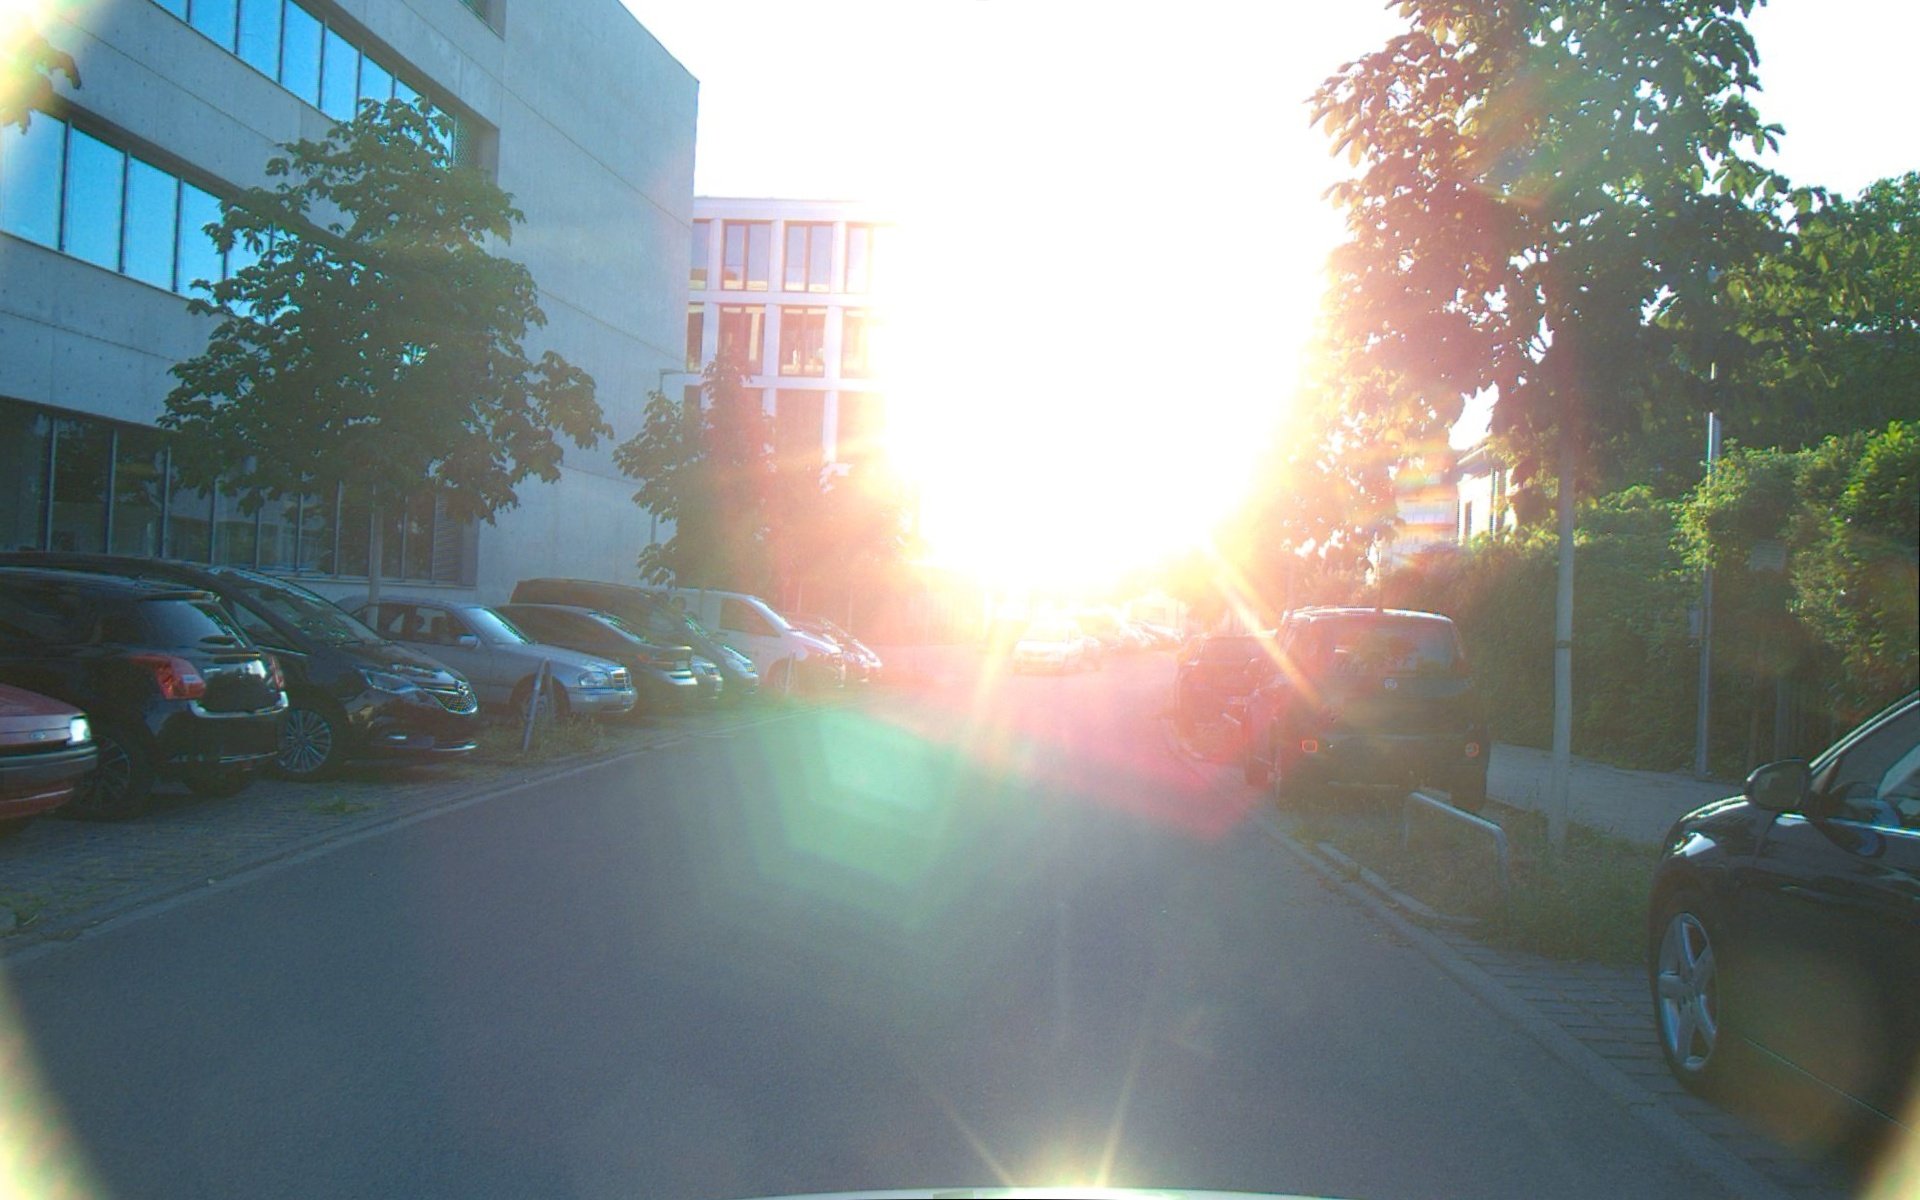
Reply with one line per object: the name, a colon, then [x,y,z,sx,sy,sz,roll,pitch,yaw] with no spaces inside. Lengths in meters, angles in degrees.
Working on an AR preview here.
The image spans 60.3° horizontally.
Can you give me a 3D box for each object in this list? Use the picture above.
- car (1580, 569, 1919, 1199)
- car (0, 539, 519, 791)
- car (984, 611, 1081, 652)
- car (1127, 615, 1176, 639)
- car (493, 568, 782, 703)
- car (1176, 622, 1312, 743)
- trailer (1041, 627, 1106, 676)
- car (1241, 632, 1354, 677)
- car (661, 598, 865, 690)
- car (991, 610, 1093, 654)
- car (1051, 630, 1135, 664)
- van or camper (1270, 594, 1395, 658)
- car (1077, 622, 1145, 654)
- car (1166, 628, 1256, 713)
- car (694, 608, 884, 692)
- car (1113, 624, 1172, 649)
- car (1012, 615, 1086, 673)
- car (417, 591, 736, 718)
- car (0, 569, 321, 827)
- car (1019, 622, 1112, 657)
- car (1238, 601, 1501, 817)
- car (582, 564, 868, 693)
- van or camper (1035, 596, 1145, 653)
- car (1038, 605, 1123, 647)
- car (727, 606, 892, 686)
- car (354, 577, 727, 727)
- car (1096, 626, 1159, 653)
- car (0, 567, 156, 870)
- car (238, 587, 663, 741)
car: [3.072,0.744,3.734,1.675,1.577,4.549,2,0,1]
car: [-6.025,0.483,13.530,4.220,1.726,1.896,3,-1,1]
car: [3.226,1.407,73.136,3.964,1.504,1.769,4,0,14]
car: [12.204,1.688,105.294,2.951,1.446,1.459,1,0,14]
car: [-5.171,0.572,26.852,4.158,1.772,1.725,5,-1,5]
car: [4.010,1.114,23.851,1.657,1.536,4.195,1,-1,6]
trailer: [3.977,1.748,57.322,1.670,1.372,3.490,5,2,12]
car: [12.385,1.985,60.925,3.963,1.505,1.769,1,0,8]
car: [-4.096,0.916,34.783,3.904,1.548,1.606,5,-1,5]
car: [3.458,1.330,69.224,3.964,1.504,1.769,4,1,11]
car: [6.629,2.321,82.259,3.963,1.551,1.737,1,0,10]
van or camper: [17.162,1.192,76.538,5.490,2.839,2.431,1,0,9]
car: [8.197,2.052,89.679,3.484,1.681,1.459,1,0,14]
car: [5.470,1.467,35.731,1.687,1.607,4.601,3,-1,11]
car: [-3.747,1.090,36.590,3.805,1.514,1.652,4,0,7]
car: [11.355,2.265,102.798,3.484,1.505,1.459,1,0,14]
car: [2.898,1.432,52.934,1.911,1.716,4.725,1,-2,8]
car: [-5.481,0.770,23.914,4.057,1.428,1.725,5,-1,5]
car: [-6.380,0.537,10.850,3.626,1.483,1.679,3,-1,1]
car: [4.803,1.792,75.364,3.963,1.505,1.769,1,0,14]
car: [3.294,0.824,13.886,1.544,1.536,3.498,1,-1,4]
car: [-4.445,0.540,31.663,4.970,1.980,1.890,5,-1,6]
van or camper: [6.698,1.230,85.130,5.337,2.527,1.776,4,0,14]
car: [5.848,1.226,80.112,3.963,1.941,1.737,1,0,10]
car: [-3.620,1.106,40.135,3.558,1.604,1.662,4,0,12]
car: [-5.470,0.666,21.815,4.305,1.525,1.764,5,-1,9]
car: [9.780,2.286,96.648,3.484,1.505,1.459,1,0,14]
car: [-6.484,0.488,8.654,3.627,1.483,1.711,3,-1,0]
car: [-5.866,0.704,19.341,4.340,1.489,1.764,3,0,5]
